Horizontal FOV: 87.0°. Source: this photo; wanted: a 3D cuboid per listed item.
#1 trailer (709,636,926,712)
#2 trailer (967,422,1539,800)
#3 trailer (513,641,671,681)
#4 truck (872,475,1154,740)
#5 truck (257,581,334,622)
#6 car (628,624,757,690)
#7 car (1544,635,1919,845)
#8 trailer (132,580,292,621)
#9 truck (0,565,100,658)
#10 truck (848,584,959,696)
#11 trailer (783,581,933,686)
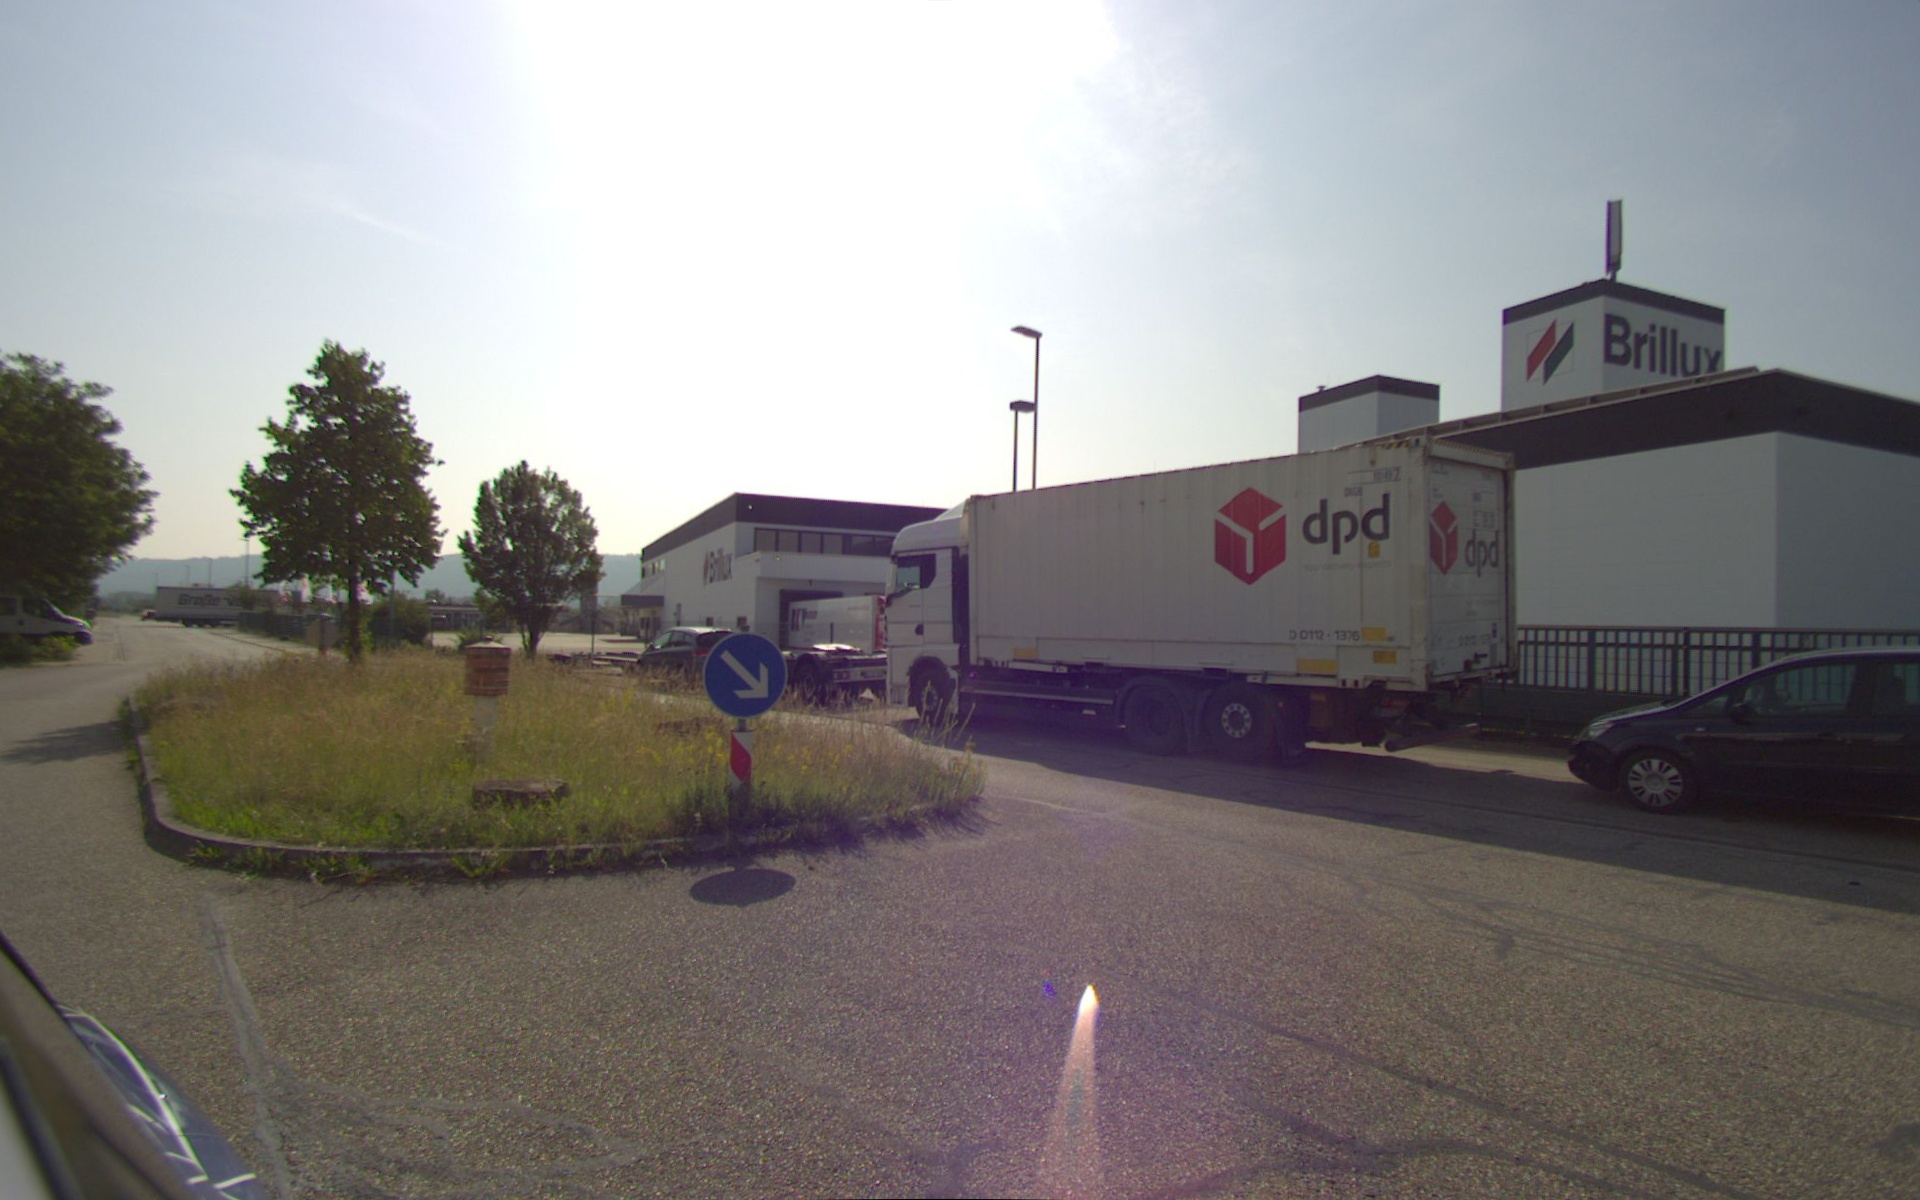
[{"bbox_3d":[-3.350,1.567,22.962,2.647,1.464,5.086,2,-2,-39],"label":"trailer"},{"bbox_3d":[3.589,0.103,14.343,2.666,3.951,7.587,0,0,-41],"label":"trailer"},{"bbox_3d":[-11.983,1.894,32.575,2.516,0.932,6.719,-2,0,-41],"label":"trailer"},{"bbox_3d":[0.819,0.102,17.587,2.675,3.951,4.303,0,0,-41],"label":"truck"},{"bbox_3d":[-70.614,0.138,107.625,6.009,4.239,3.400,0,0,-2],"label":"truck"},{"bbox_3d":[-7.240,1.448,27.110,1.674,1.573,4.343,-1,-1,-40],"label":"car"},{"bbox_3d":[8.168,1.172,9.171,1.969,1.653,4.593,1,-2,-42],"label":"car"},{"bbox_3d":[-78.916,0.034,106.966,14.024,4.239,3.502,0,0,-2],"label":"trailer"},{"bbox_3d":[-37.348,0.341,37.555,8.107,3.396,2.745,4,-2,-41],"label":"truck"},{"bbox_3d":[-2.342,1.452,39.966,2.477,4.102,5.562,0,0,-25],"label":"truck"},{"bbox_3d":[-5.046,1.268,45.866,2.447,4.072,13.935,0,0,-24],"label":"trailer"}]
